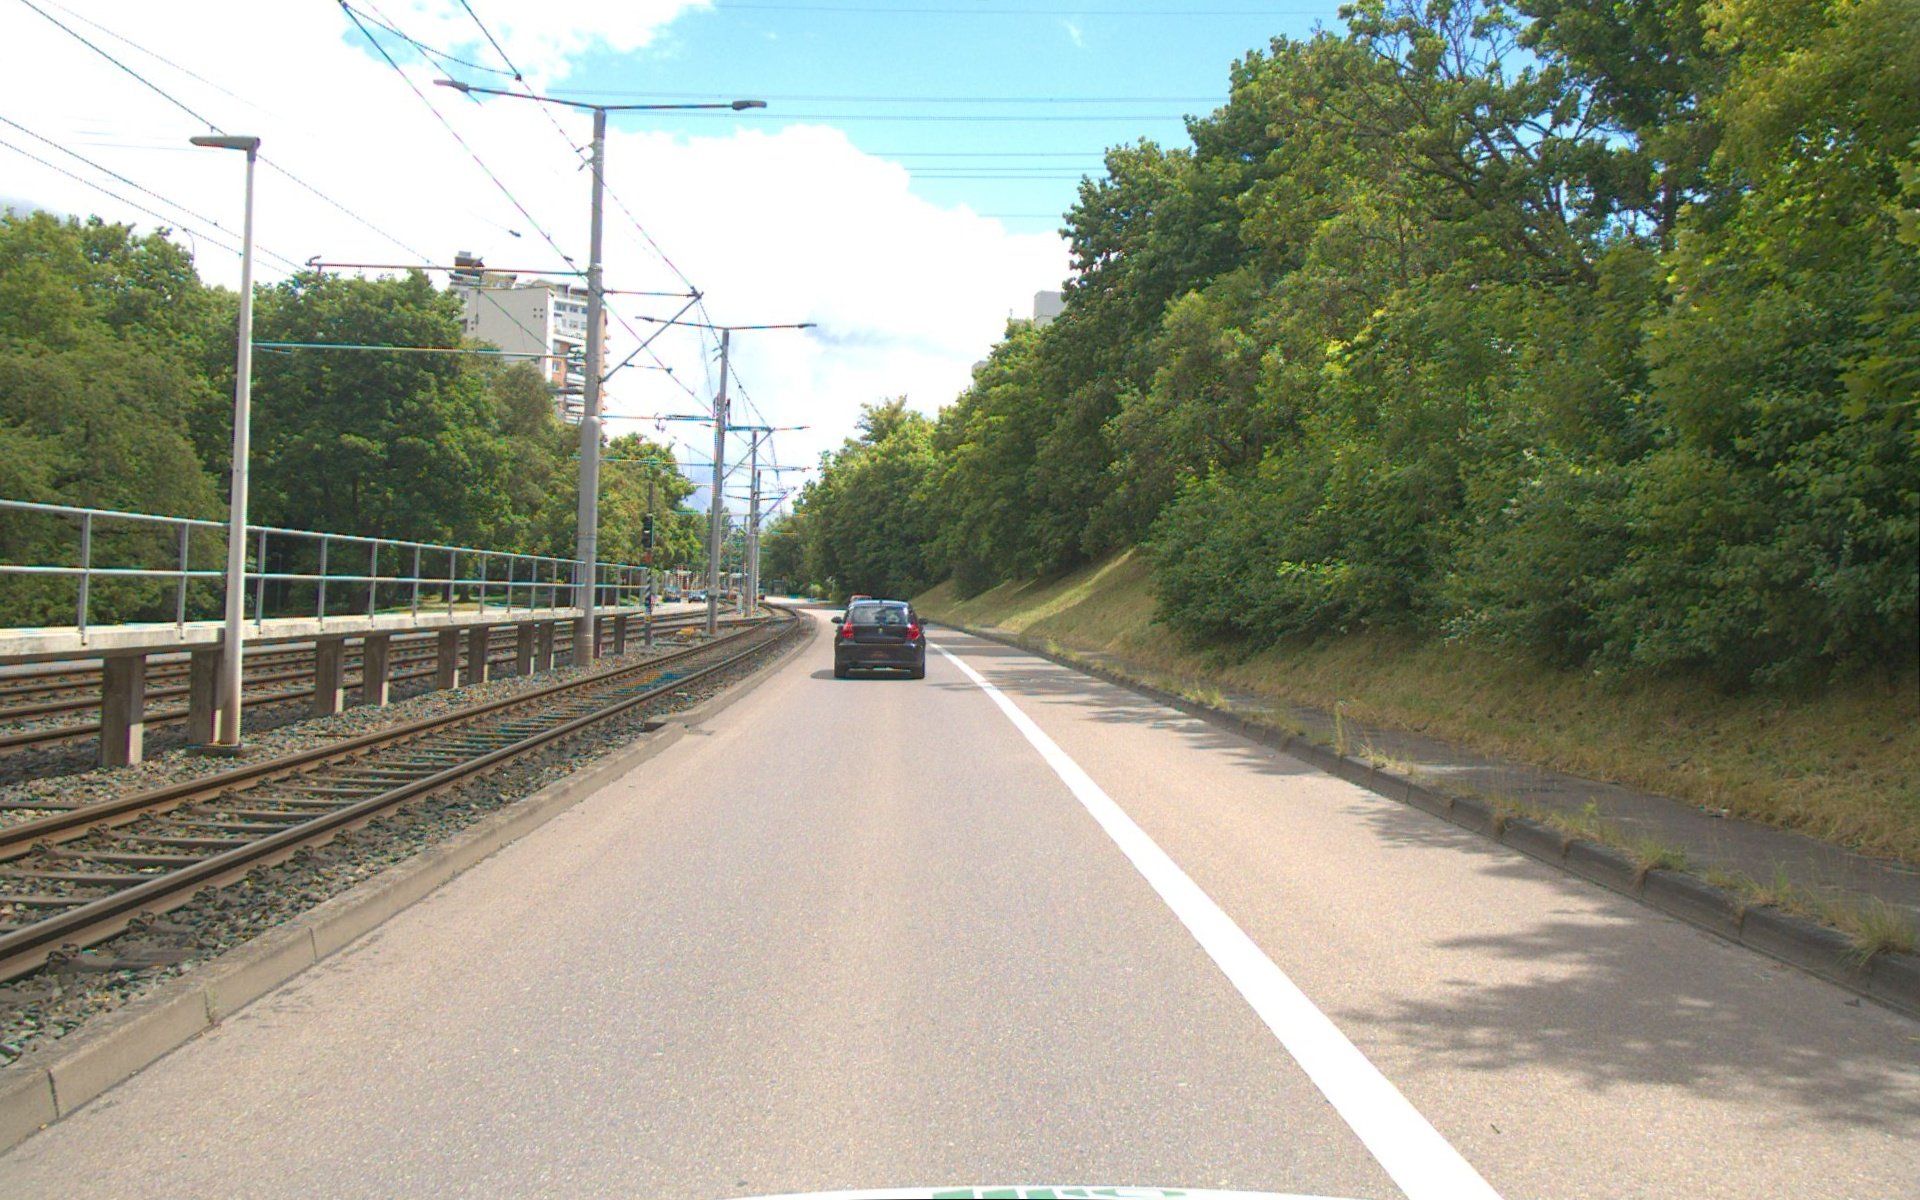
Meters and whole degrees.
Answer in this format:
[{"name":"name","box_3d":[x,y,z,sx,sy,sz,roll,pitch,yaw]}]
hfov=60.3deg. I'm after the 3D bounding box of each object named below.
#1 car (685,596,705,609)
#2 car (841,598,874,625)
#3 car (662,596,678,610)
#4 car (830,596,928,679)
[{"name":"car","box_3d":[-29.214,0.297,182.292,1.800,1.415,4.857,-1,0,-5]},{"name":"car","box_3d":[-5.917,0.630,95.419,1.747,1.485,3.916,1,0,-6]},{"name":"car","box_3d":[-32.729,0.304,186.748,1.742,1.525,3.987,1,0,-11]},{"name":"car","box_3d":[-1.600,0.680,31.634,1.746,1.485,3.917,0,0,-5]}]
